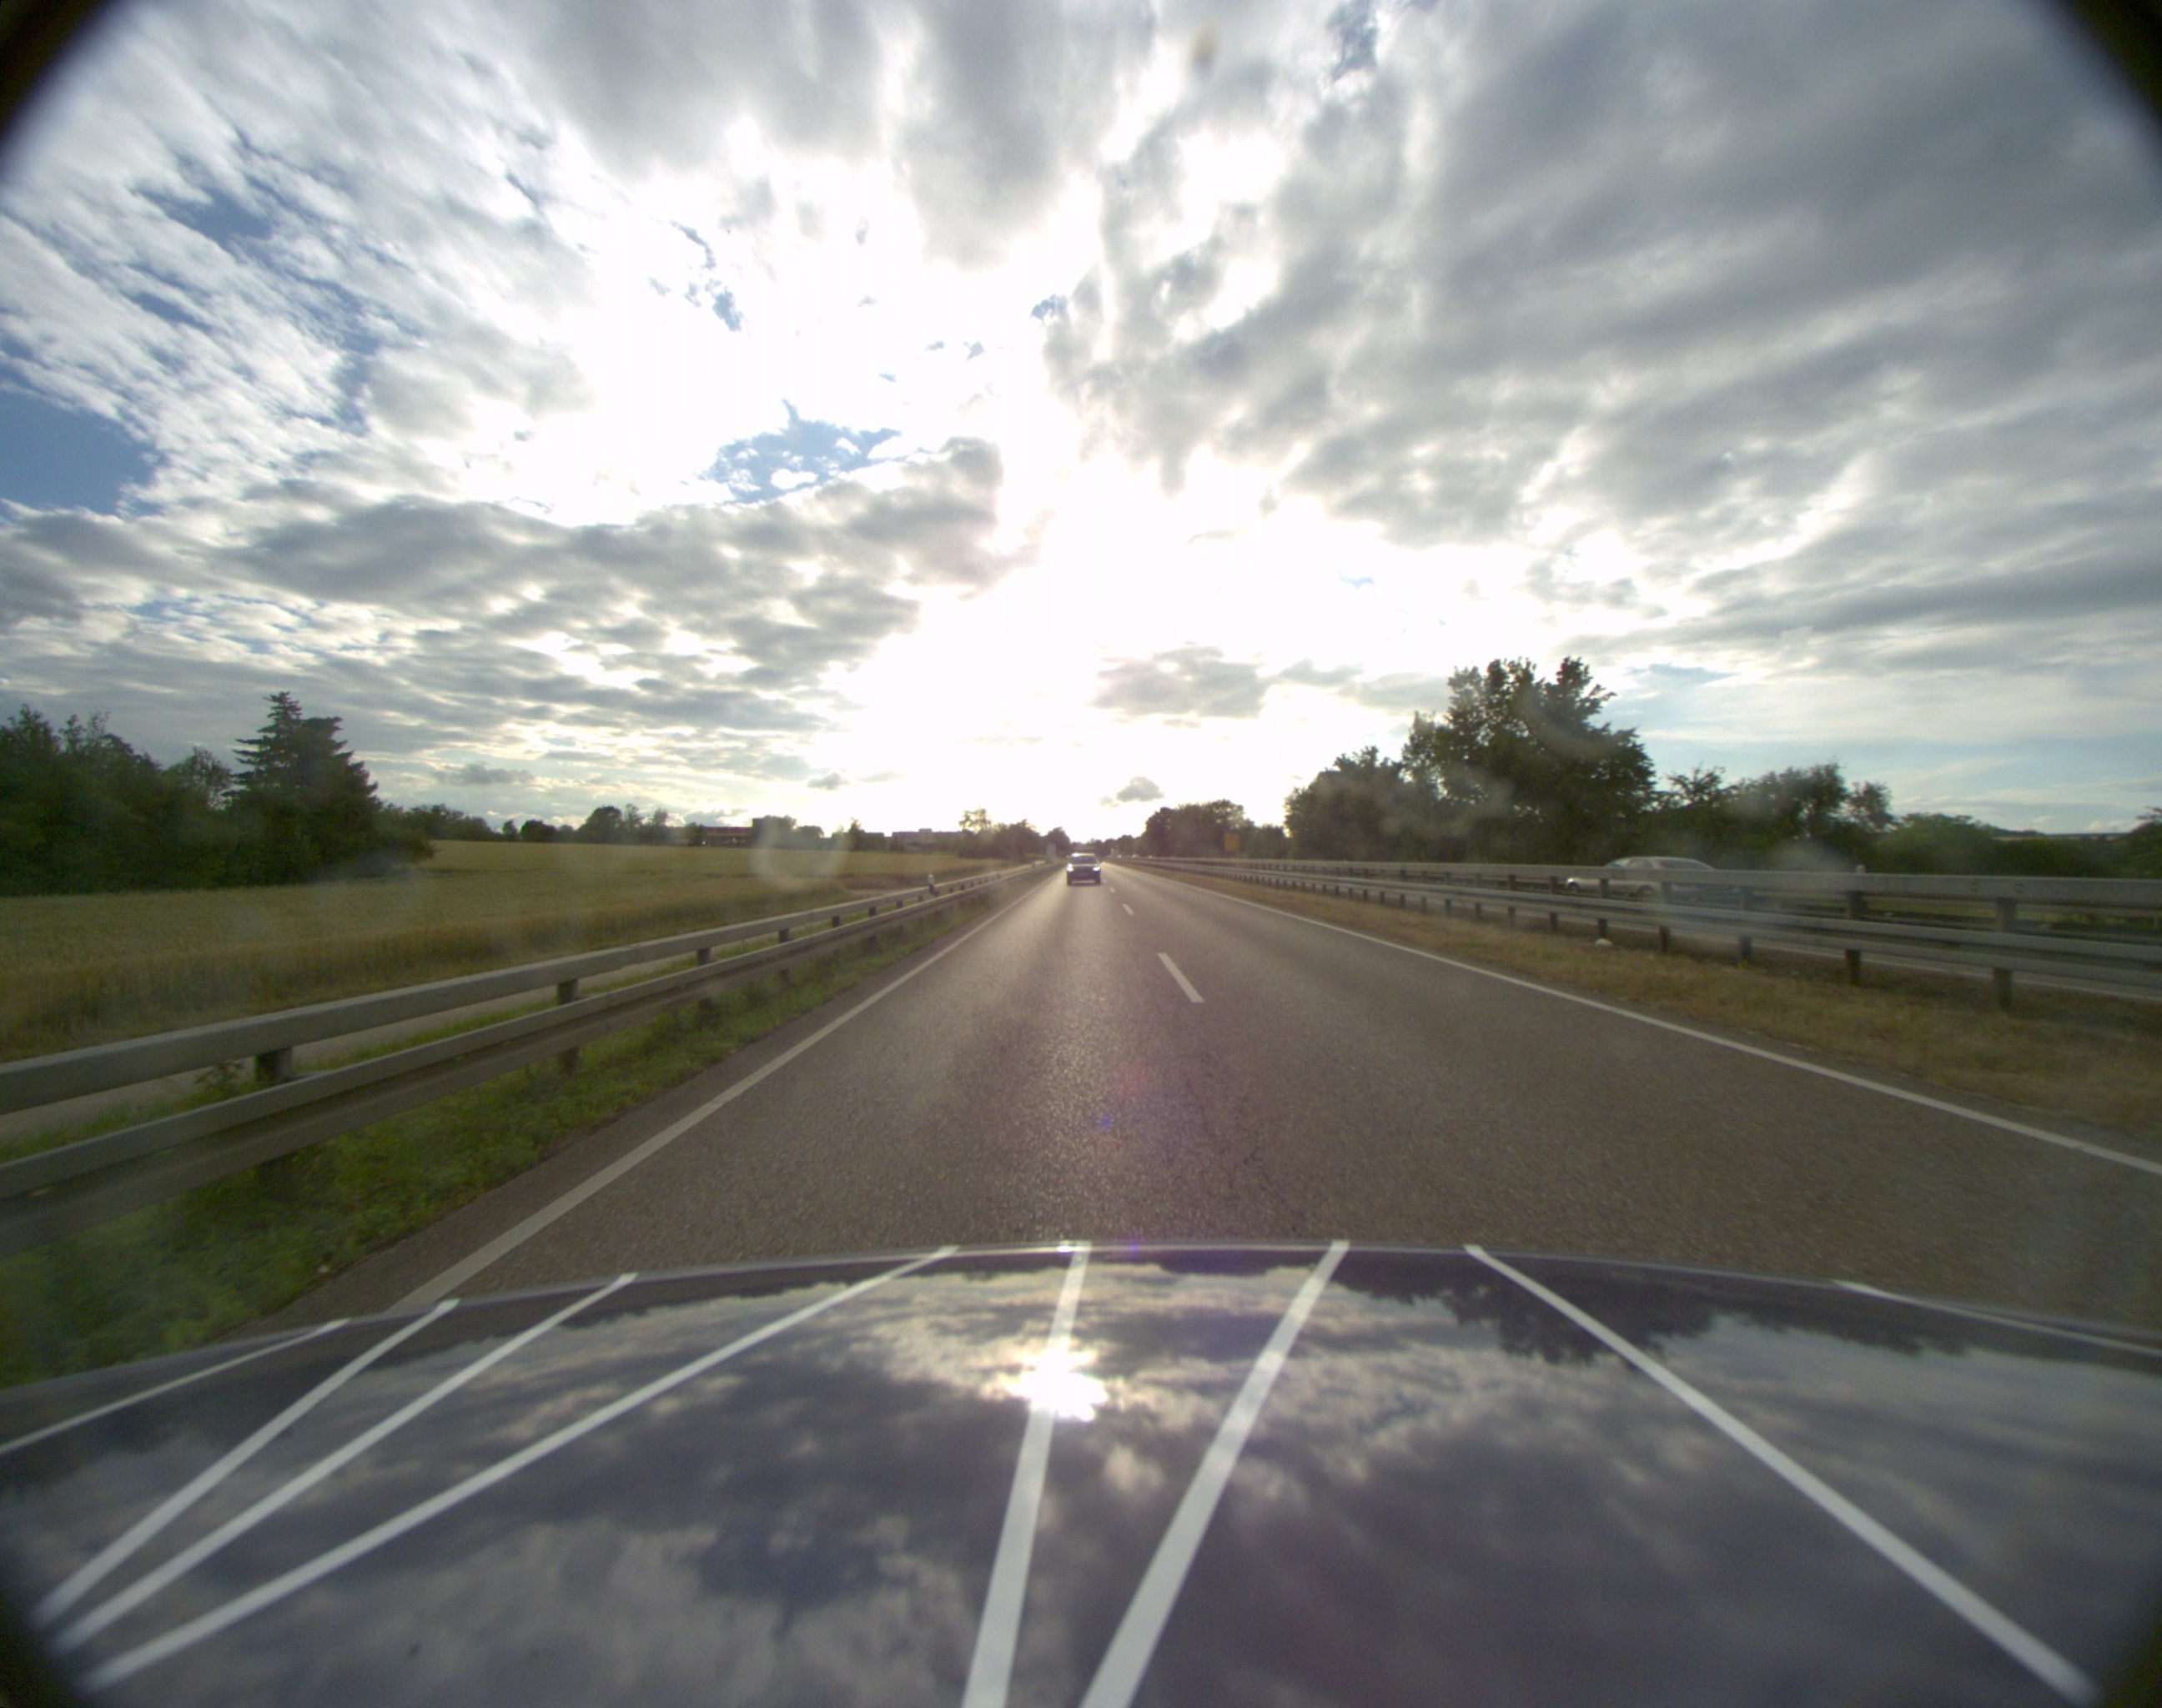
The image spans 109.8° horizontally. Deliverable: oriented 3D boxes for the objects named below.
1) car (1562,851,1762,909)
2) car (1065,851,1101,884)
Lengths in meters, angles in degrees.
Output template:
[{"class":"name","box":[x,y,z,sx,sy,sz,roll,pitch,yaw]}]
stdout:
[{"class":"car","box":[14.950,0.596,19.936,1.785,1.344,4.576,0,0,1]},{"class":"car","box":[0.125,0.718,42.335,1.863,1.636,3.999,-2,1,1]}]
